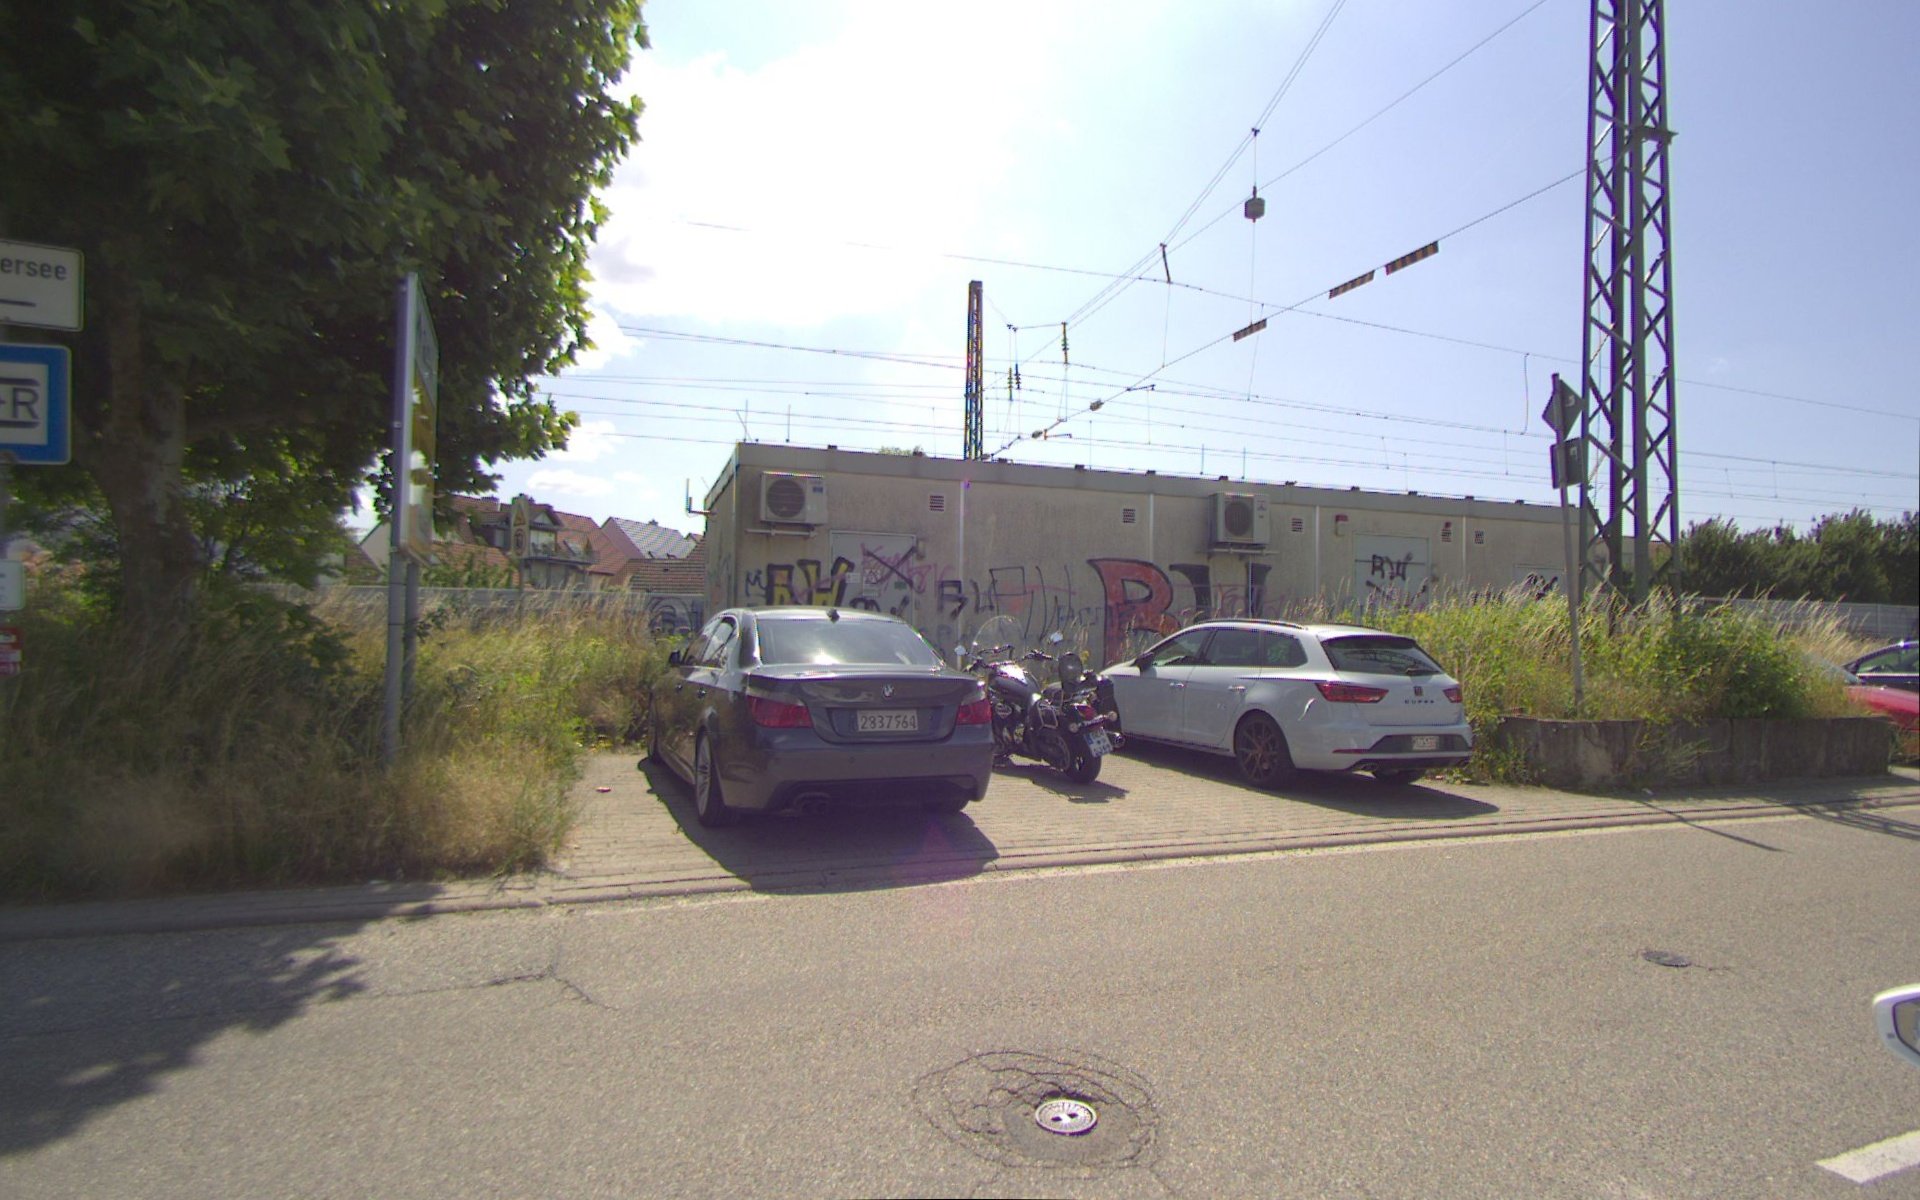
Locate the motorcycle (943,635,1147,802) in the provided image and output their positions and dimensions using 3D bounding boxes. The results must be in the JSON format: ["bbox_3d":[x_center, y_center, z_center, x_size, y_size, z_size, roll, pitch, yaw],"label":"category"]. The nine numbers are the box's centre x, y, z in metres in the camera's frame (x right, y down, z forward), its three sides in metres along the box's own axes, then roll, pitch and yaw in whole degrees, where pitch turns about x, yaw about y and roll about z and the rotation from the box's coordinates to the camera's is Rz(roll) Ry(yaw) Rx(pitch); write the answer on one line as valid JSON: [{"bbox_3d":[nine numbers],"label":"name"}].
[{"bbox_3d":[0.676,0.986,9.287,0.708,1.298,2.719,2,-2,-22],"label":"motorcycle"}]

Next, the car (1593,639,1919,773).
[{"bbox_3d":[10.903,1.273,13.335,1.649,1.387,4.066,0,-1,-21],"label":"car"}]

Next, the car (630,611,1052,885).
[{"bbox_3d":[-1.228,0.864,7.635,1.765,1.429,4.411,2,-3,-27],"label":"car"}]

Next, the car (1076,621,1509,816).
[{"bbox_3d":[2.924,0.962,9.813,1.762,1.420,4.063,2,-1,-23],"label":"car"}]

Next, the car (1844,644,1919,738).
[{"bbox_3d":[16.367,1.461,15.370,1.758,1.469,3.944,2,-2,-17],"label":"car"}]

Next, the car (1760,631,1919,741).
[{"bbox_3d":[14.154,1.263,14.564,1.660,1.467,3.657,2,0,-23],"label":"car"}]

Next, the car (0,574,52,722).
[{"bbox_3d":[-12.650,0.480,10.584,4.020,1.658,1.993,2,-2,-17],"label":"car"}]
